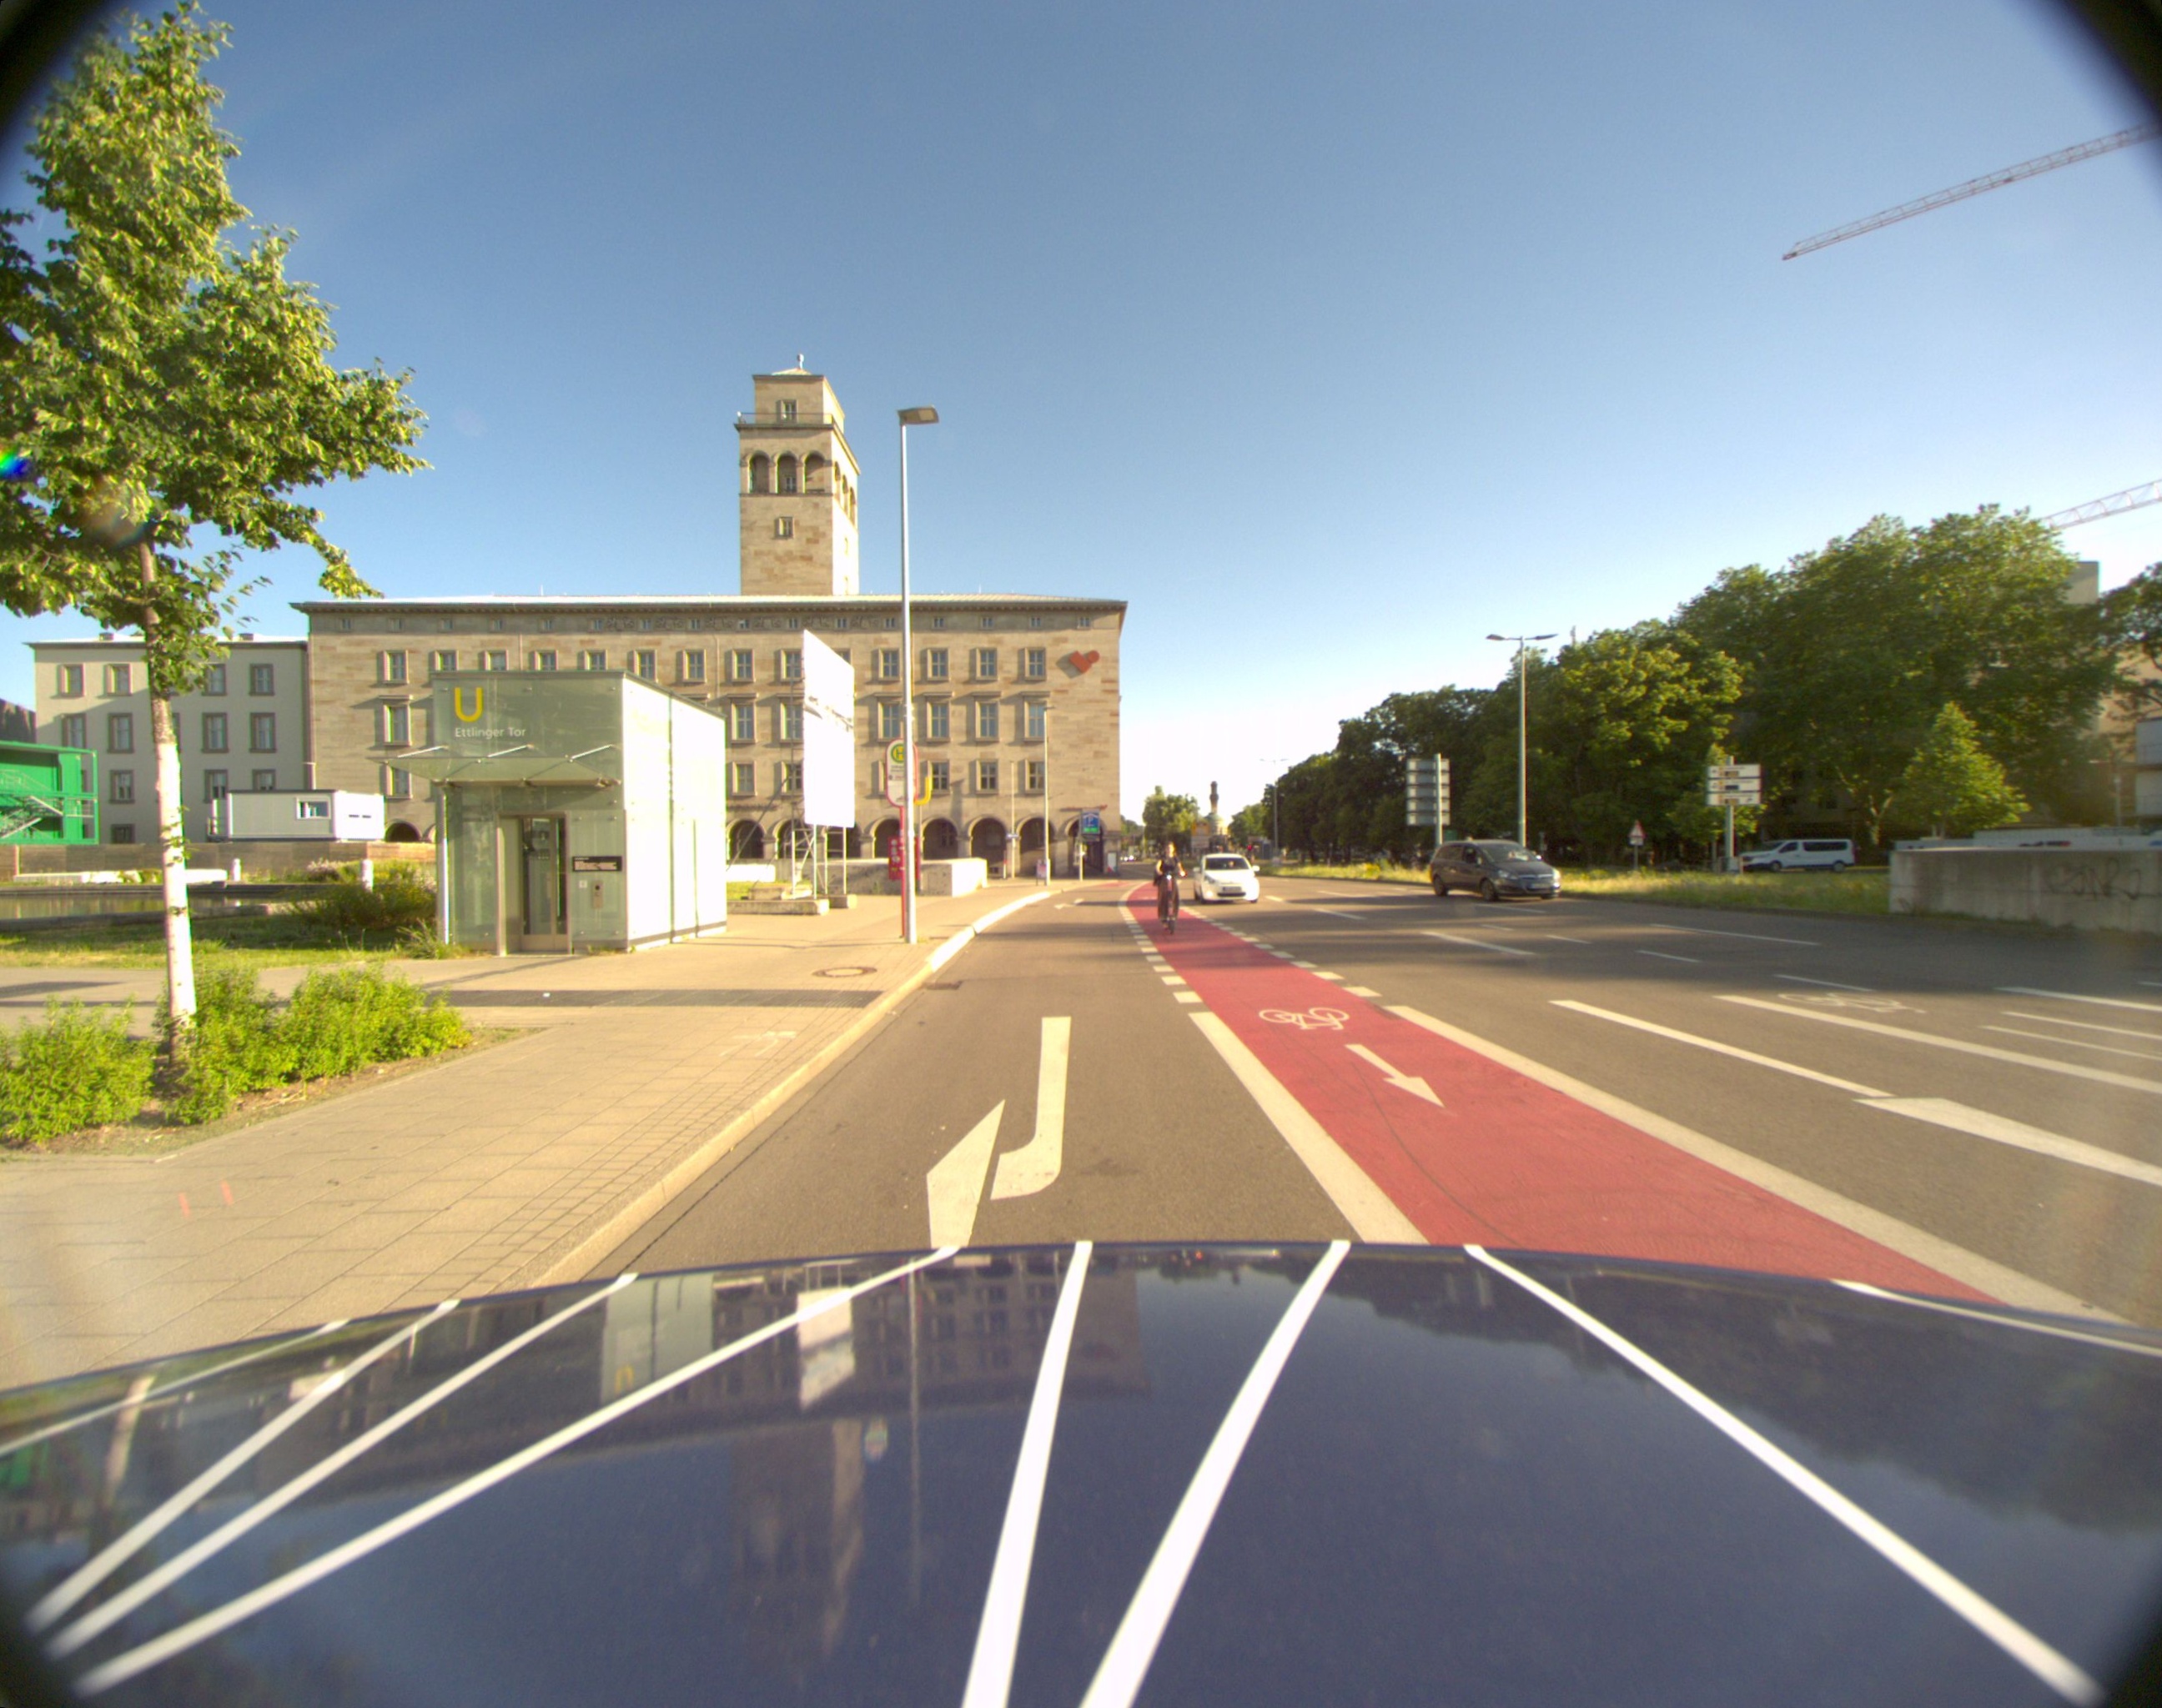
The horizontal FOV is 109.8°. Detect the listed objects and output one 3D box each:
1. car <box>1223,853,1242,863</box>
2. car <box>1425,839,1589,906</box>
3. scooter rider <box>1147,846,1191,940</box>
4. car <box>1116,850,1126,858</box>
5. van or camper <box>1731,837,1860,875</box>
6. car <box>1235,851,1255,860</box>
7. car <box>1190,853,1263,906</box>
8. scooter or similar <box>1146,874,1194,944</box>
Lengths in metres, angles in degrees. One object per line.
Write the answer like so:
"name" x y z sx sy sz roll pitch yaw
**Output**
"car" 21.449 0.564 107.858 1.872 1.390 3.999 -1 0 -1
"car" 11.410 0.444 20.799 1.998 1.598 4.481 -1 0 1
"scooter rider" 1.690 0.734 14.729 0.730 1.764 0.811 -1 1 1
"car" 8.518 0.021 161.319 1.998 1.652 4.000 -1 0 1
"van or camper" 42.307 0.128 45.084 5.649 2.002 1.948 -2 1 2
"car" 25.791 0.238 119.542 1.999 1.499 3.998 -1 0 -5
"car" 4.428 0.737 23.609 1.678 1.440 3.889 -2 0 3
"scooter or similar" 1.687 1.015 14.595 0.730 1.195 1.664 -1 0 1
